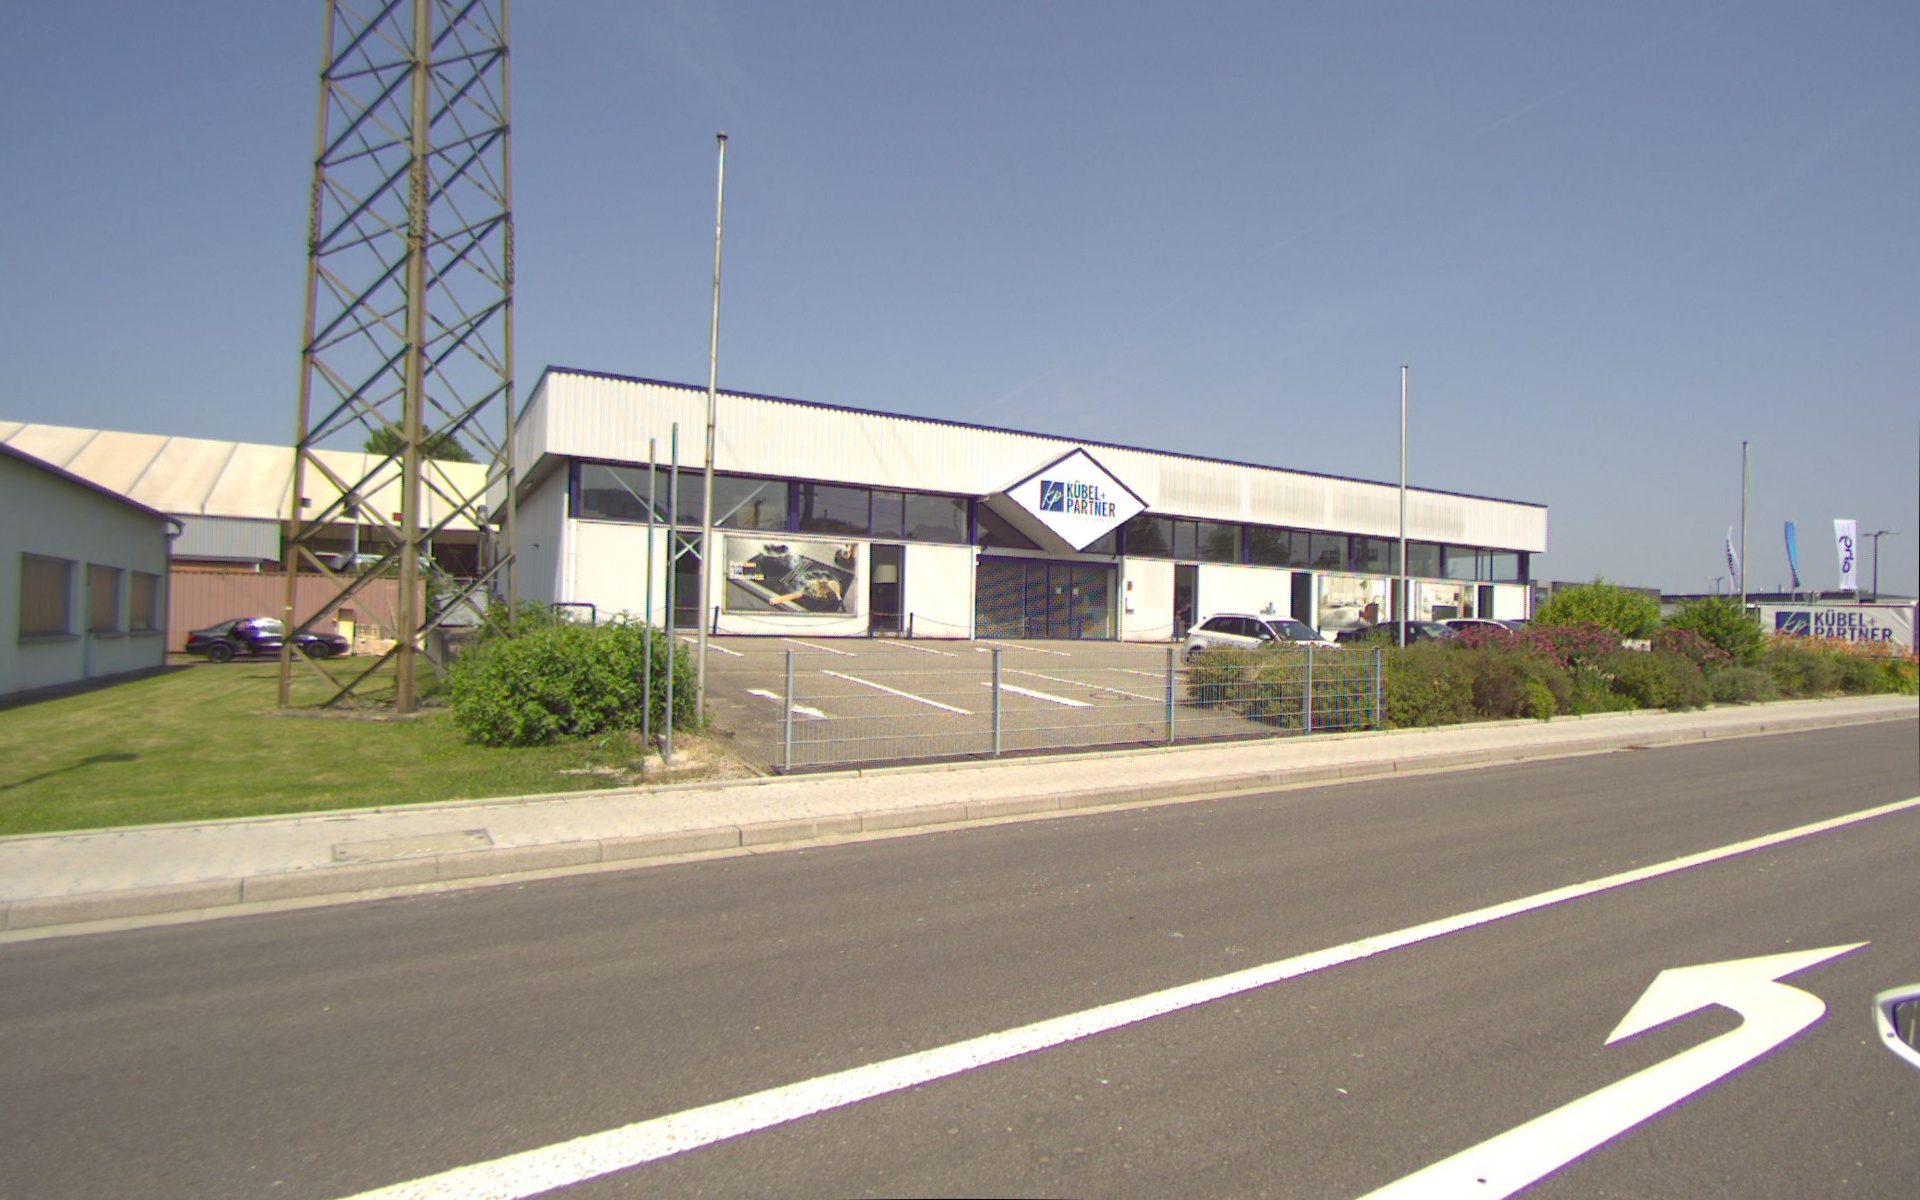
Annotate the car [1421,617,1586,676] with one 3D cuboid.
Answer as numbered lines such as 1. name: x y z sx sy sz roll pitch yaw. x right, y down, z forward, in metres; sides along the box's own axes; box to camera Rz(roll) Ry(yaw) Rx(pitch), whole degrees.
1. car: 14.061 1.161 26.143 1.487 1.271 3.491 1 1 -30

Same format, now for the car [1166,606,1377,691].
1. car: 6.517 0.957 21.448 1.744 1.475 4.202 1 1 -30

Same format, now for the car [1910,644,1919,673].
1. car: 55.373 3.256 55.390 1.865 1.653 3.968 1 -2 -30

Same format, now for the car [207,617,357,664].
1. car: -22.241 1.353 33.141 3.953 1.441 1.663 2 -3 -30
